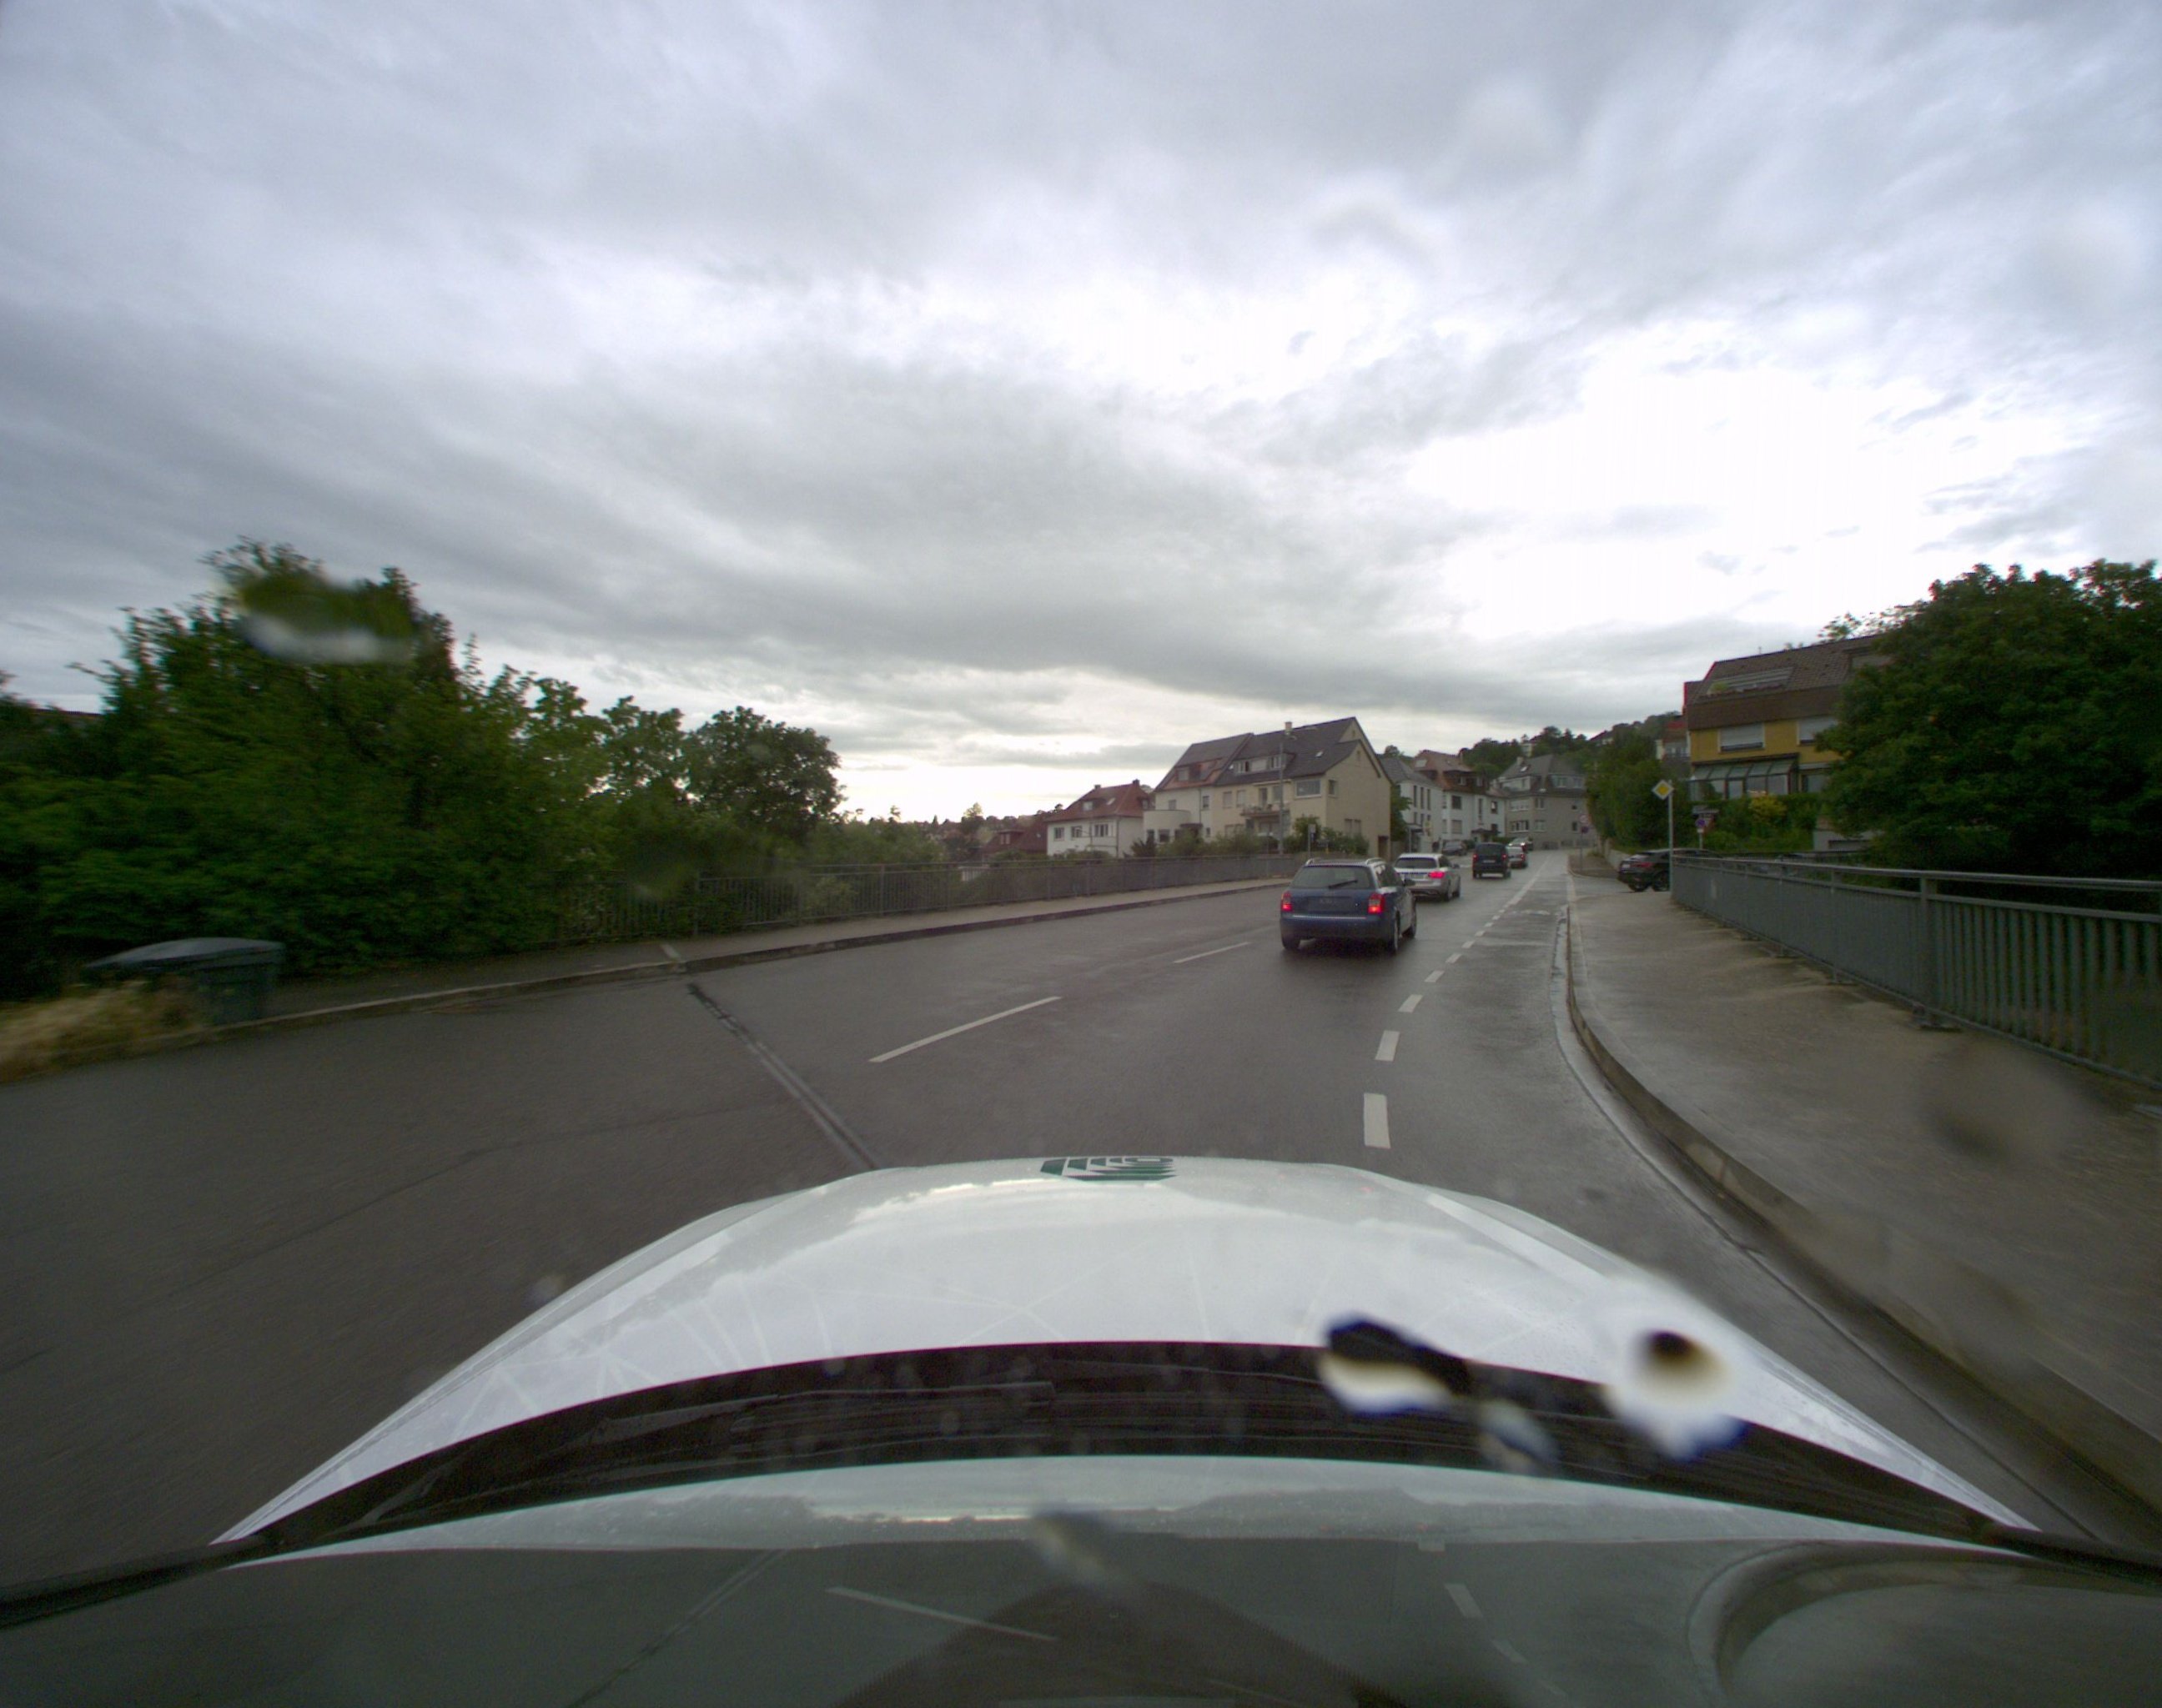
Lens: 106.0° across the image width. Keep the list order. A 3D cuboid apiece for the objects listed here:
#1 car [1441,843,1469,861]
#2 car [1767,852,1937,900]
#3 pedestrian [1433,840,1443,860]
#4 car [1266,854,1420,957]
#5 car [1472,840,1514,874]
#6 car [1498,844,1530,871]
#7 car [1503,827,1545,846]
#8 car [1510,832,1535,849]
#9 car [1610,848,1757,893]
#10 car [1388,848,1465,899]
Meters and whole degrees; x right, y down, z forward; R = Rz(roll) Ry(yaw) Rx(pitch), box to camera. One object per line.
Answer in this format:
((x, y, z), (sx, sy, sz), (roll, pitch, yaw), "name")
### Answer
((36.975, -0.137, 80.491), (1.974, 1.708, 4.025), (-1, -1, 32), "car")
((25.970, 0.700, 27.602), (3.741, 1.424, 1.837), (2, 0, 20), "car")
((30.837, -0.354, 70.362), (0.652, 1.691, 0.585), (-3, 1, 25), "pedestrian")
((4.491, 0.726, 13.559), (1.731, 1.407, 4.024), (0, 0, 28), "car")
((21.397, 0.136, 42.284), (1.805, 1.616, 3.808), (3, 2, 28), "car")
((29.384, 0.212, 55.347), (1.805, 1.730, 3.808), (3, 2, 28), "car")
((49.056, -1.915, 90.168), (4.006, 2.013, 1.984), (1, 1, -25), "car")
((54.577, -1.638, 100.595), (1.975, 2.013, 4.025), (3, 2, 39), "car")
((21.062, 0.557, 28.571), (3.757, 1.424, 1.829), (2, 0, 3), "car")
((10.864, 0.565, 25.457), (1.873, 1.389, 4.024), (2, 1, 27), "car")
